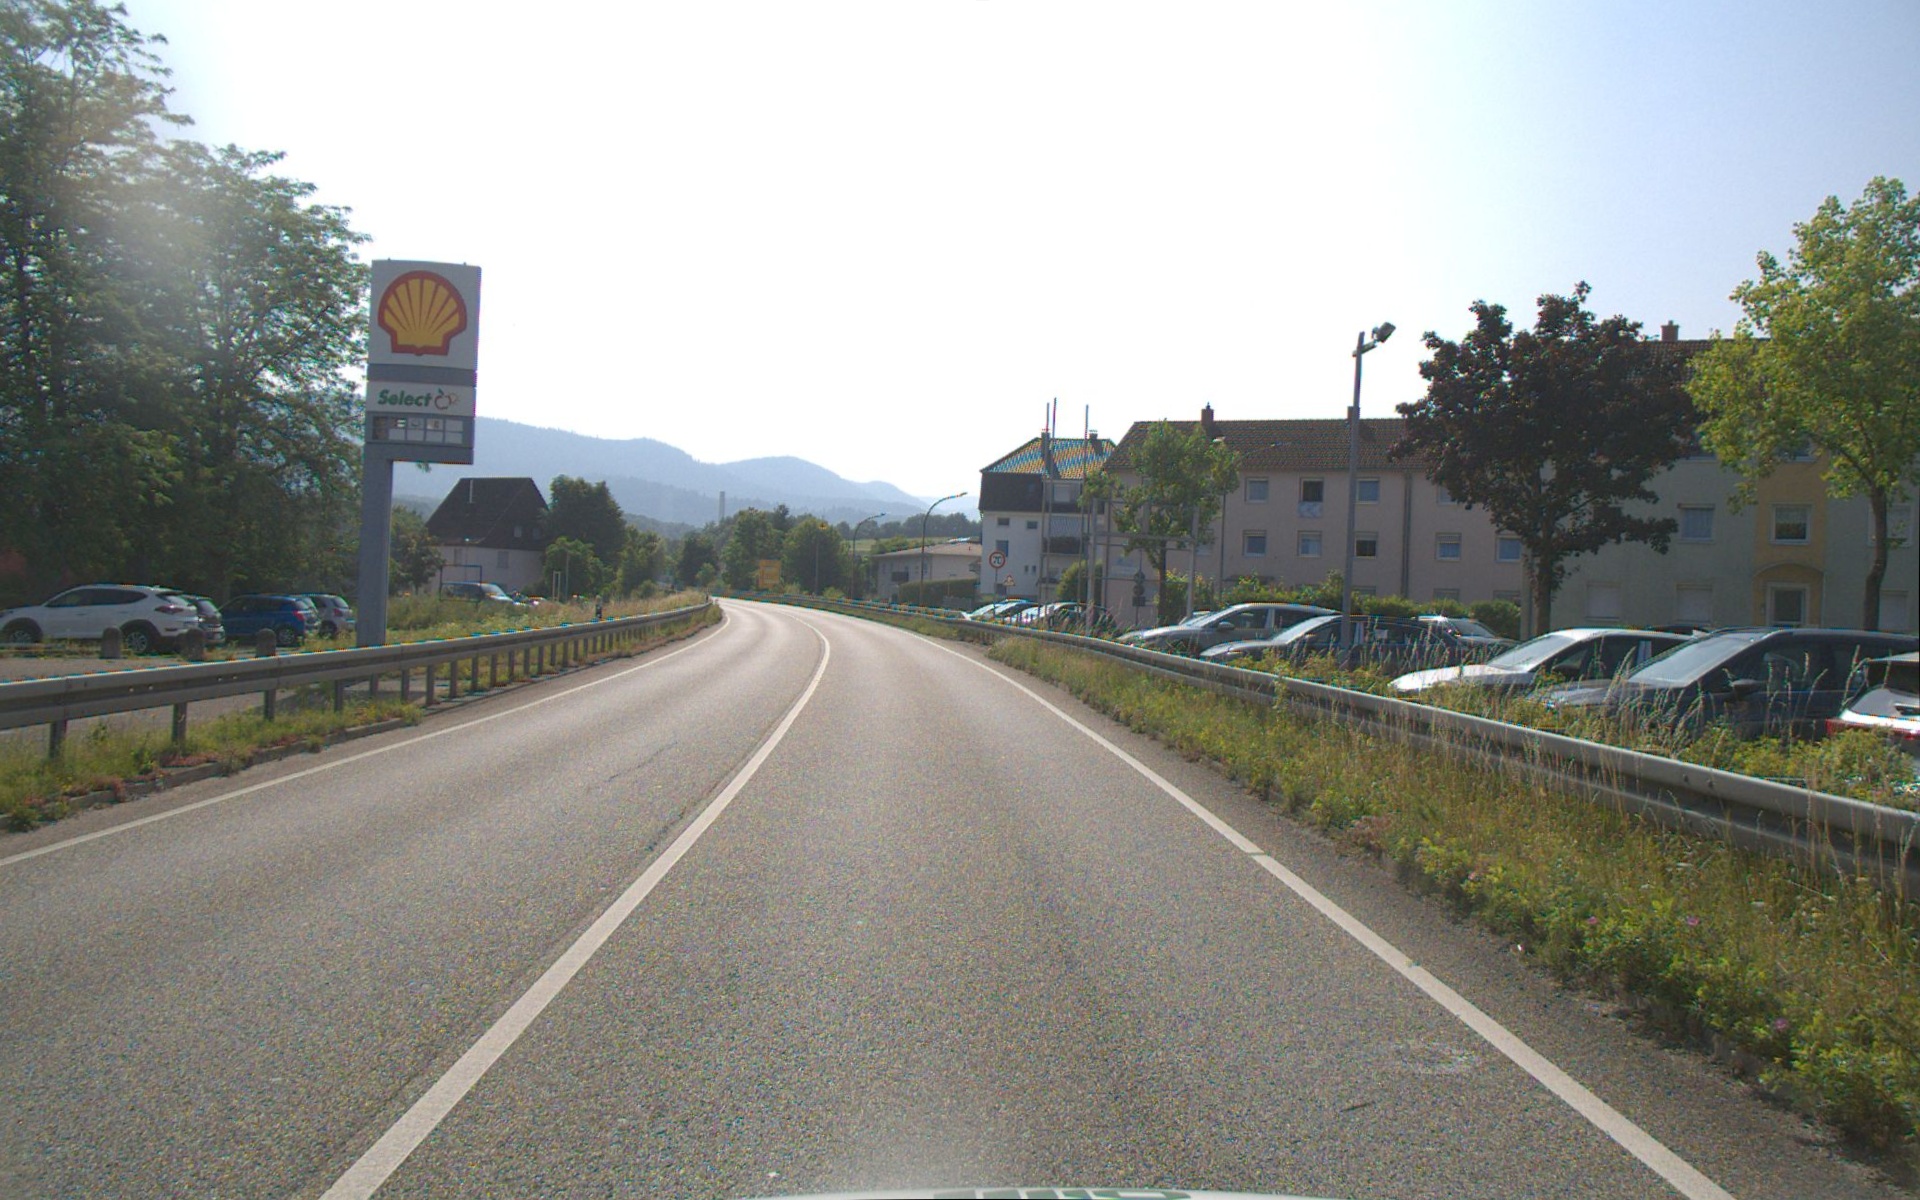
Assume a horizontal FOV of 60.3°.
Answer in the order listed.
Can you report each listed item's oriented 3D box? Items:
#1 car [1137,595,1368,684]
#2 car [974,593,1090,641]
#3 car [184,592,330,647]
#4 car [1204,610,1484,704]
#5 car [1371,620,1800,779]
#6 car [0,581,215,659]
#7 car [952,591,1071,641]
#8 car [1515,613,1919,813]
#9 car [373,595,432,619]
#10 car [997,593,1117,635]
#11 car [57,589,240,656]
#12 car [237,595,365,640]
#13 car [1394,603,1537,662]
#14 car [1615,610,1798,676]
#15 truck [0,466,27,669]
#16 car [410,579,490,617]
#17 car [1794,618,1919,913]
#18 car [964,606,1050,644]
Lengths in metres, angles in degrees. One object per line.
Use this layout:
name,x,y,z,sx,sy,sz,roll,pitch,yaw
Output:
car,5.803,0.778,33.249,4.231,1.668,2.139,1,0,-1
car,2.700,0.633,62.127,3.922,1.475,1.757,5,-2,-16
car,-21.547,0.597,50.818,3.675,1.526,1.930,2,0,-6
car,6.314,0.924,27.450,4.234,1.469,1.627,1,0,-4
car,6.521,1.016,17.525,3.906,1.548,1.697,1,0,-1
car,-20.323,0.472,39.365,4.268,1.684,1.929,2,0,-8
car,2.011,0.635,64.547,4.169,1.599,1.908,5,-2,-18
car,7.051,0.943,14.478,3.768,1.595,1.807,1,0,-1
car,-45.990,0.575,136.448,4.073,1.662,1.862,4,-2,2
car,3.525,0.507,59.897,4.000,1.477,1.717,1,0,-22
car,-20.541,0.564,41.983,3.677,1.526,1.929,2,0,-8
car,-22.614,0.596,56.866,3.675,1.485,1.859,1,0,-6
car,13.579,0.843,44.581,1.682,1.429,3.633,1,1,-25
car,16.911,0.951,37.613,1.630,1.390,3.633,1,0,-25
truck,-20.505,-0.691,27.539,2.753,3.619,8.174,2,0,38
car,-28.534,-0.127,92.534,4.815,2.049,1.989,1,0,40
car,7.199,0.938,9.543,3.907,1.607,1.777,1,0,-3
car,1.938,1.037,68.451,3.213,1.400,1.541,4,-2,-18
